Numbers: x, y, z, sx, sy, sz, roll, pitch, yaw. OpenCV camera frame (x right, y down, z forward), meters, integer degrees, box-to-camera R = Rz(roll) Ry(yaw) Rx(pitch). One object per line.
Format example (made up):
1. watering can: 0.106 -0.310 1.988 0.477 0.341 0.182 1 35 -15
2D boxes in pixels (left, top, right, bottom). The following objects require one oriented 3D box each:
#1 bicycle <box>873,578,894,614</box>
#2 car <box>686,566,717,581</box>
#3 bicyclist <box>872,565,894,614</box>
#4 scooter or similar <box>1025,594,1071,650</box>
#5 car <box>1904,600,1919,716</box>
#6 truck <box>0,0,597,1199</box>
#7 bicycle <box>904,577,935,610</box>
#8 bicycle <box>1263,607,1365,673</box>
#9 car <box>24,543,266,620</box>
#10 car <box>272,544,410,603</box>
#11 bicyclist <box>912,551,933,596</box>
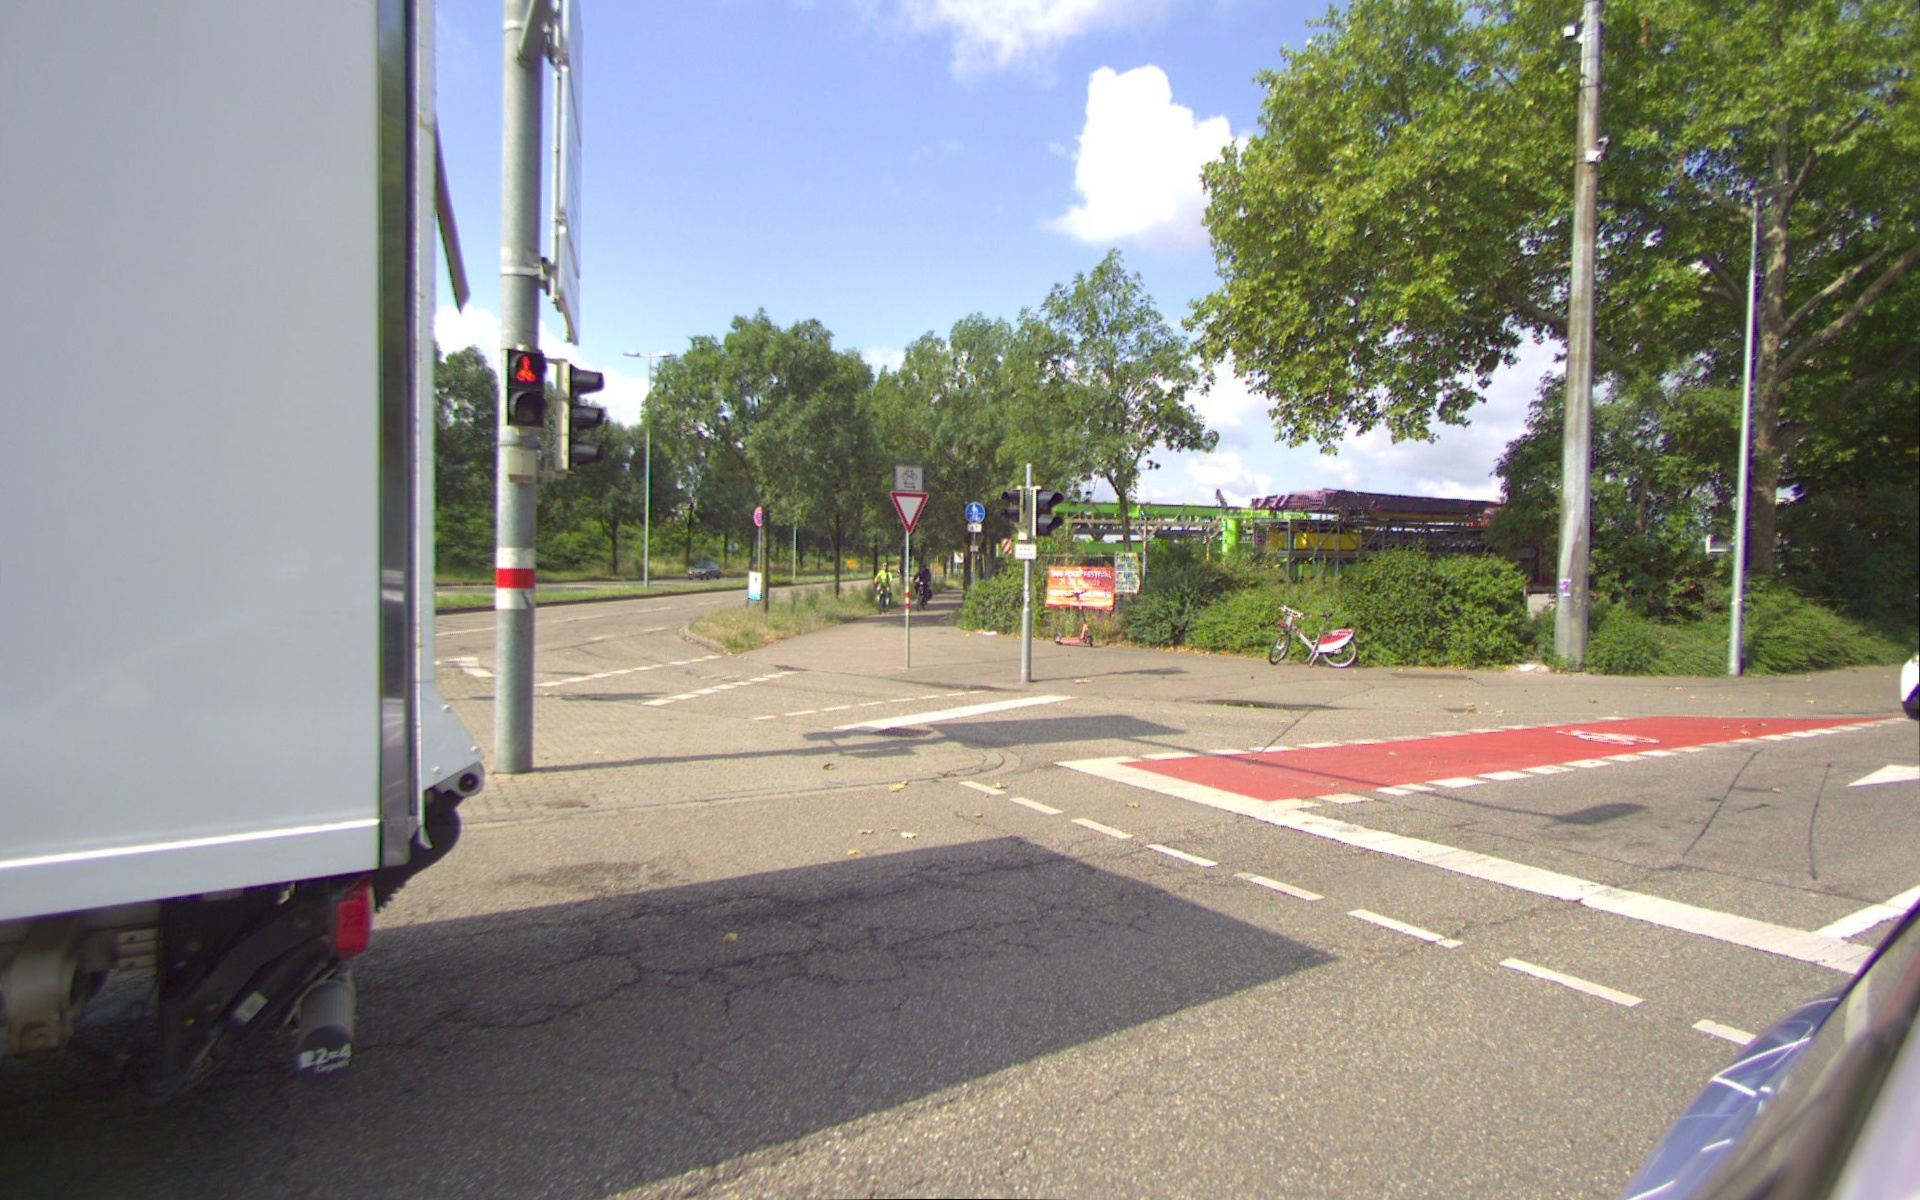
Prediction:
1. bicycle: -2.752 -0.133 36.502 0.664 1.211 2.234 -4 0 -3
2. car: -19.826 -2.044 77.737 1.516 1.062 3.370 1 1 1
3. bicyclist: -2.775 -0.377 36.476 0.664 1.700 0.838 -4 0 -4
4. scooter or similar: 1.857 0.448 21.504 0.401 1.125 1.011 -1 2 -37
5. car: 14.461 0.779 13.397 3.721 1.498 1.753 1 0 -28
6. truck: -3.987 -0.179 1.728 5.912 3.159 2.456 -2 3 -34
7. bicycle: -1.522 -0.265 38.856 0.779 1.211 2.228 1 1 8
8. bicycle: 6.184 0.674 17.723 1.624 1.055 0.523 1 3 32
9. car: -19.958 -0.556 25.127 1.789 1.662 4.798 1 4 7
10. car: -19.576 -0.893 32.254 1.613 1.654 4.205 1 4 4
11. bicyclist: -1.440 -1.006 38.934 0.666 1.707 0.753 1 1 9
